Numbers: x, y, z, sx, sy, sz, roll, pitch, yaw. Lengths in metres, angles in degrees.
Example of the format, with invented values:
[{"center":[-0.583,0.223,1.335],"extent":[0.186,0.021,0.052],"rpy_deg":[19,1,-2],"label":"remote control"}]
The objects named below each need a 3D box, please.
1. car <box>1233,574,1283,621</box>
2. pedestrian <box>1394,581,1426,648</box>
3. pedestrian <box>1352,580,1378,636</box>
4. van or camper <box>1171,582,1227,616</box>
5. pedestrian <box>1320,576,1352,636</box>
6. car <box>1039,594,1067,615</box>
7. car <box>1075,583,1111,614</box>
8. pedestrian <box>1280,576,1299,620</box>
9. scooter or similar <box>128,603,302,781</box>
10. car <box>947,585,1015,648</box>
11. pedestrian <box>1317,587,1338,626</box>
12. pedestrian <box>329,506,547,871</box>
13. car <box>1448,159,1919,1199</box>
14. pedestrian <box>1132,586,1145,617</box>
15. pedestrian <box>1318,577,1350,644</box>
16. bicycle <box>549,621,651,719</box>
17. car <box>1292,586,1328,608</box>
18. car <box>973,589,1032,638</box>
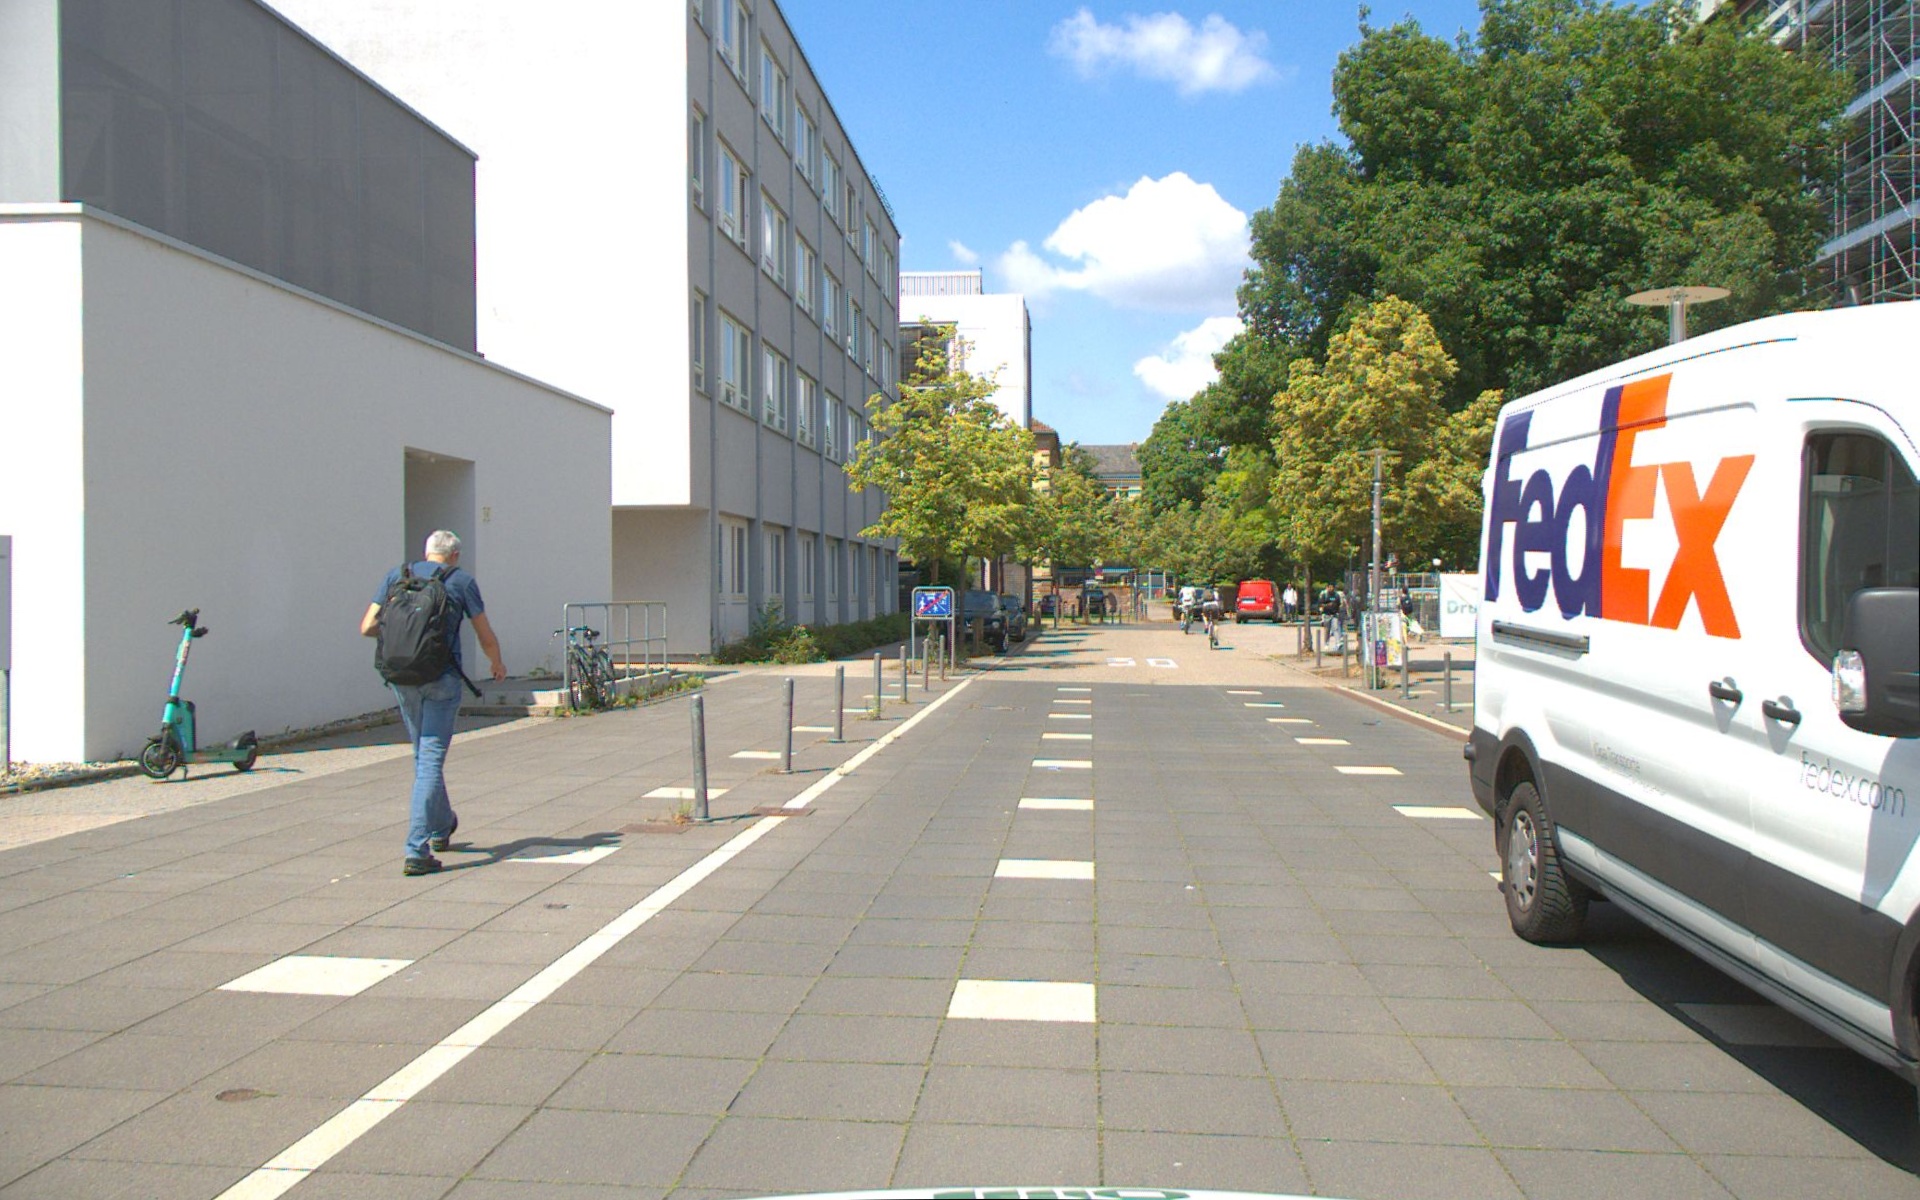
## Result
[{"center":[13.088,-0.125,72.435],"extent":[1.809,1.924,4.894],"rpy_deg":[-1,0,14],"label":"car"},{"center":[11.513,0.371,42.333],"extent":[0.635,1.695,0.905],"rpy_deg":[-1,0,6],"label":"pedestrian"},{"center":[12.030,0.237,49.126],"extent":[0.654,1.628,0.986],"rpy_deg":[-1,0,10],"label":"pedestrian"},{"center":[14.337,-0.091,99.123],"extent":[1.914,1.957,5.417],"rpy_deg":[0,1,24],"label":"van or camper"},{"center":[11.306,0.182,49.795],"extent":[0.832,1.794,0.716],"rpy_deg":[-1,0,7],"label":"pedestrian"},{"center":[6.107,0.264,108.023],"extent":[1.779,1.347,3.769],"rpy_deg":[-1,0,3],"label":"car"},{"center":[8.626,-0.078,107.860],"extent":[2.129,1.959,5.188],"rpy_deg":[-1,0,2],"label":"car"},{"center":[13.850,-0.091,69.437],"extent":[0.680,1.812,0.787],"rpy_deg":[-1,0,6],"label":"pedestrian"},{"center":[-5.724,0.672,12.775],"extent":[0.472,1.285,1.314],"rpy_deg":[-1,0,17],"label":"scooter or similar"},{"center":[0.608,0.411,44.235],"extent":[1.661,1.591,4.069],"rpy_deg":[-1,0,3],"label":"car"},{"center":[17.610,0.313,79.210],"extent":[0.714,1.853,0.623],"rpy_deg":[-1,0,-31],"label":"pedestrian"},{"center":[-2.803,0.446,9.000],"extent":[0.806,1.849,1.144],"rpy_deg":[-1,0,-1],"label":"pedestrian"},{"center":[3.429,0.193,5.613],"extent":[2.016,2.587,5.852],"rpy_deg":[-1,0,3],"label":"car"},{"center":[10.496,0.106,97.195],"extent":[0.571,1.795,0.911],"rpy_deg":[-1,0,19],"label":"pedestrian"},{"center":[9.755,0.275,43.205],"extent":[0.628,1.726,0.792],"rpy_deg":[-1,0,-1],"label":"pedestrian"},{"center":[-4.321,0.816,19.968],"extent":[0.531,1.080,1.901],"rpy_deg":[-1,0,9],"label":"bicycle"},{"center":[26.046,-0.245,123.081],"extent":[1.725,1.548,4.109],"rpy_deg":[-1,0,25],"label":"car"},{"center":[1.383,0.396,52.495],"extent":[1.741,1.486,4.261],"rpy_deg":[0,0,3],"label":"car"}]
